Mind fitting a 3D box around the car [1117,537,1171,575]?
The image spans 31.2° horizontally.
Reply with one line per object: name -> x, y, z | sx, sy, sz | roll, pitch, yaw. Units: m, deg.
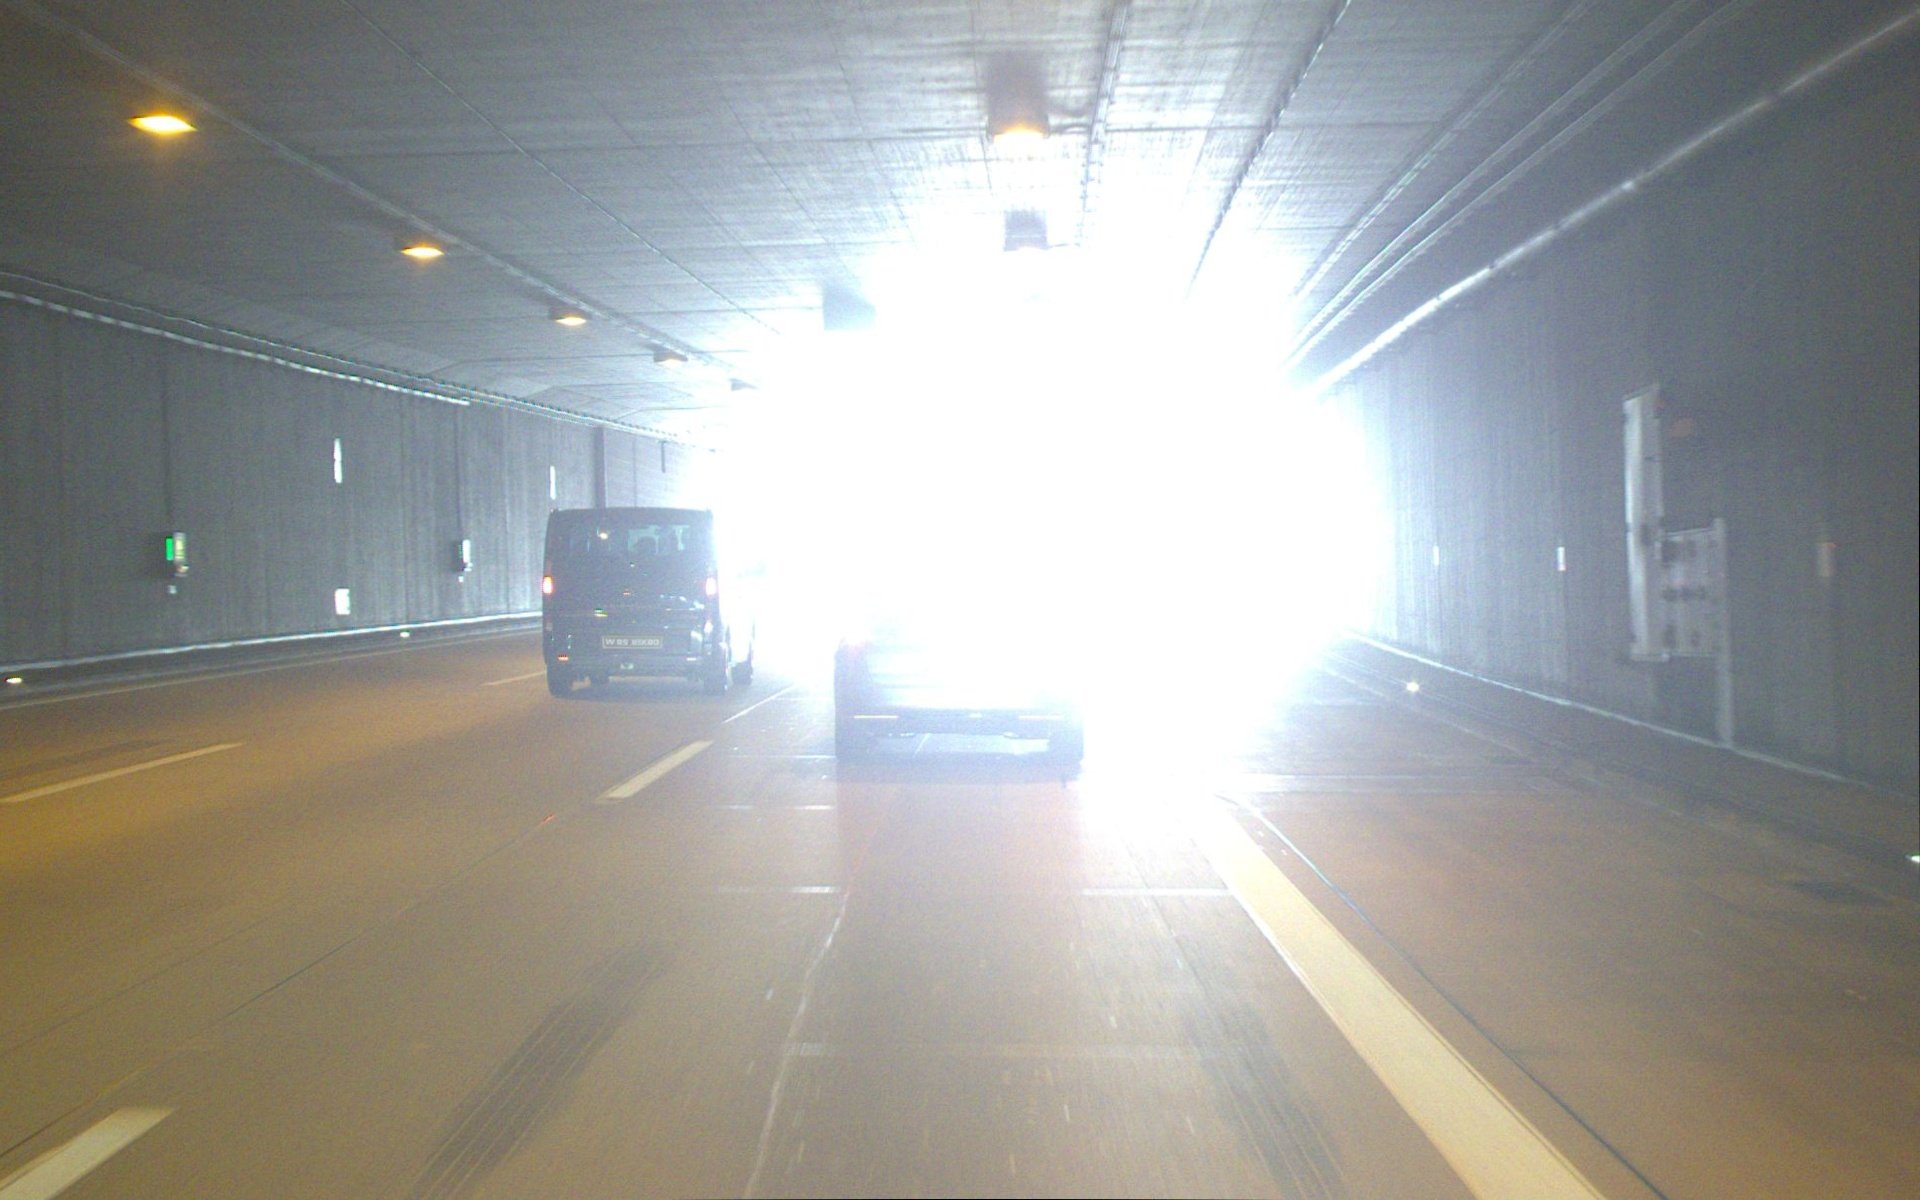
car -> 8.401, -2.002, 156.338 | 1.994, 1.626, 3.998 | 0, -1, 10

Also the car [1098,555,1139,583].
car -> 9.465, -1.829, 205.234 | 1.931, 1.637, 3.998 | 1, 1, 9

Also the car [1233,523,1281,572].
car -> 13.283, -2.315, 153.637 | 1.994, 2.007, 3.998 | 0, -2, 7

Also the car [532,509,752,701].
car -> -3.333, 0.021, 36.681 | 1.909, 1.938, 3.871 | 0, 1, 1

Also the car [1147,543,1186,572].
car -> 13.035, -2.679, 217.081 | 1.931, 1.637, 3.998 | 0, -2, 11

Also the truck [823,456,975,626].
truck -> -1.306, -1.323, 78.096 | 3.039, 3.661, 7.392 | 1, 1, 2

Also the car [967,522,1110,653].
car -> 1.202, -0.201, 50.967 | 1.857, 1.848, 3.999 | 1, 1, 5

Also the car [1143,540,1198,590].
car -> 7.608, -1.248, 123.816 | 1.931, 1.637, 3.999 | 0, -2, 4

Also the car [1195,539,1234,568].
car -> 15.152, -2.762, 204.900 | 1.994, 1.626, 3.998 | 0, -1, 9

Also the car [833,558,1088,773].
car -> 0.043, 0.427, 25.441 | 1.742, 1.459, 3.871 | 0, 1, 1
